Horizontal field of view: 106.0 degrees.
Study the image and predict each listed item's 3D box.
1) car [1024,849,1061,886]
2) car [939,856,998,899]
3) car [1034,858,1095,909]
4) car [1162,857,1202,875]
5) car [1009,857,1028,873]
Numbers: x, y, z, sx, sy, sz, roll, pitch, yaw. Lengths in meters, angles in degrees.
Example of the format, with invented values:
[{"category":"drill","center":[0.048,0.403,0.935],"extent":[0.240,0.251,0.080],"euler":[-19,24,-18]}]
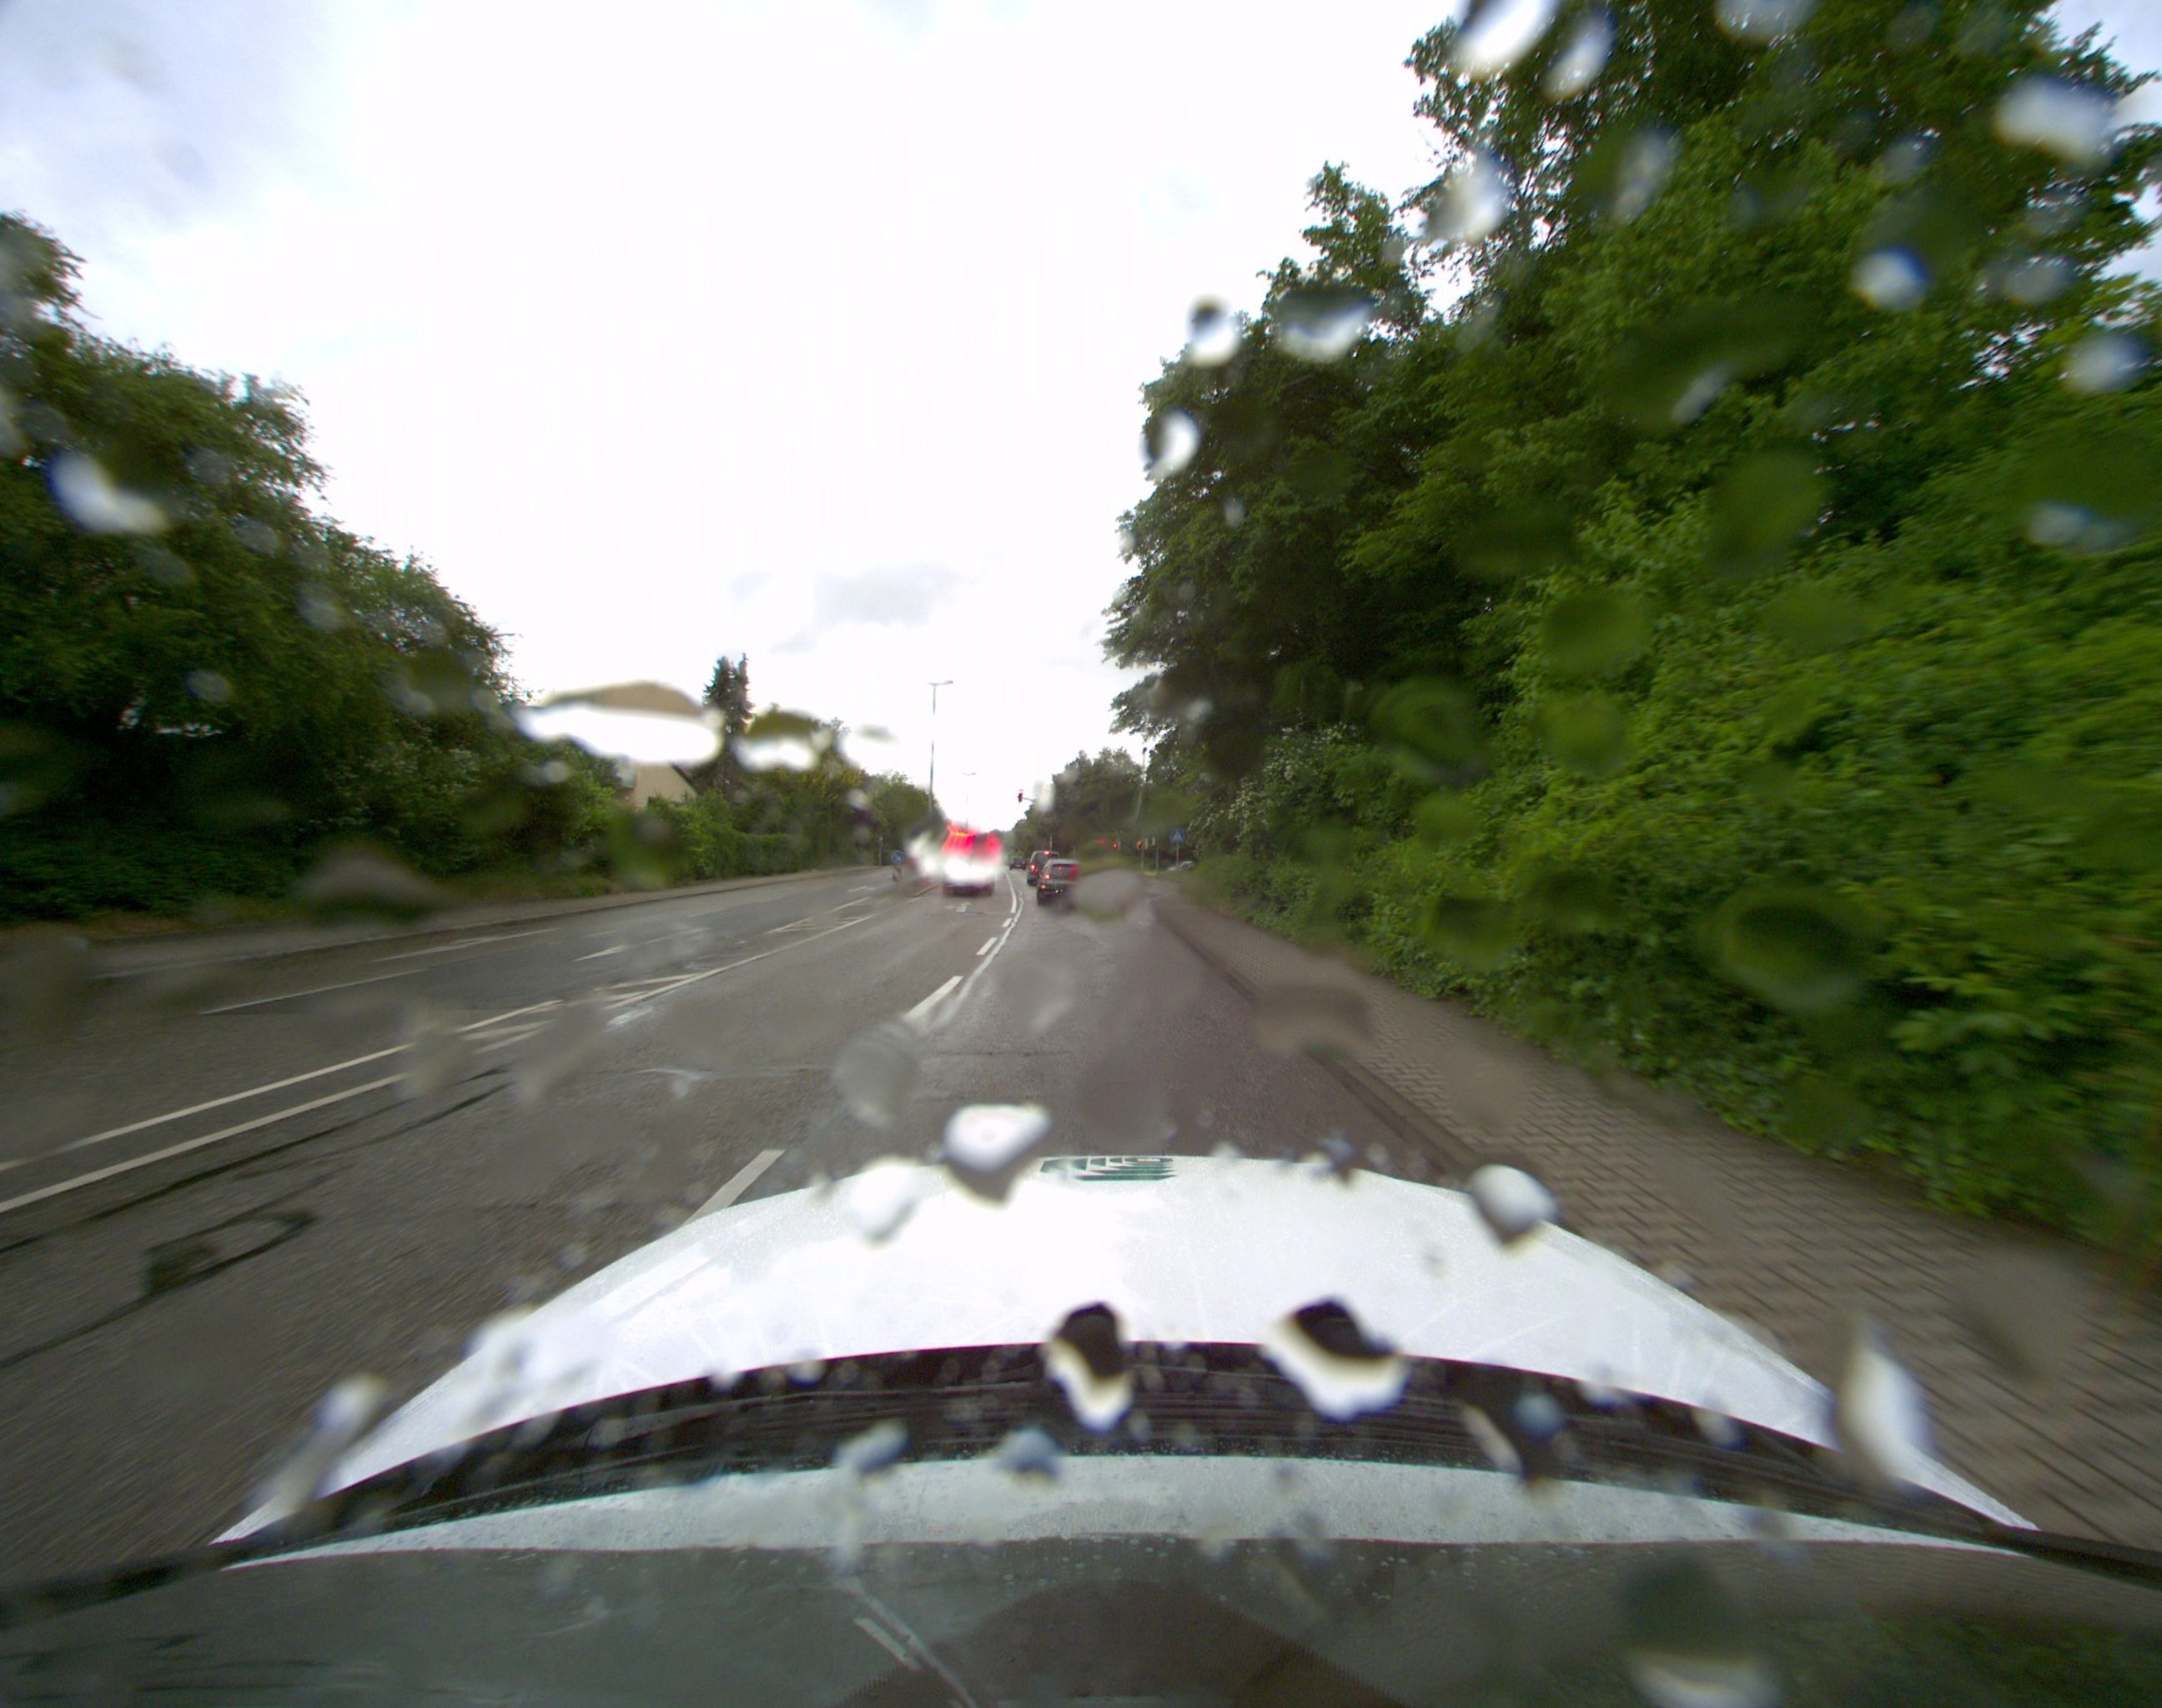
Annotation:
[{"category":"car","center":[-2.112,0.736,44.083],"extent":[1.815,1.868,3.946],"euler":[2,-1,-5]},{"category":"car","center":[-4.321,0.861,31.833],"extent":[1.990,1.527,4.320],"euler":[-1,0,-5]},{"category":"car","center":[-0.587,0.978,28.179],"extent":[1.893,1.551,4.611],"euler":[2,-1,-1]},{"category":"car","center":[9.363,1.086,75.566],"extent":[3.491,1.426,1.703],"euler":[-2,2,-1]},{"category":"car","center":[-6.753,1.143,87.746],"extent":[1.991,1.624,3.944],"euler":[-1,0,-6]}]
